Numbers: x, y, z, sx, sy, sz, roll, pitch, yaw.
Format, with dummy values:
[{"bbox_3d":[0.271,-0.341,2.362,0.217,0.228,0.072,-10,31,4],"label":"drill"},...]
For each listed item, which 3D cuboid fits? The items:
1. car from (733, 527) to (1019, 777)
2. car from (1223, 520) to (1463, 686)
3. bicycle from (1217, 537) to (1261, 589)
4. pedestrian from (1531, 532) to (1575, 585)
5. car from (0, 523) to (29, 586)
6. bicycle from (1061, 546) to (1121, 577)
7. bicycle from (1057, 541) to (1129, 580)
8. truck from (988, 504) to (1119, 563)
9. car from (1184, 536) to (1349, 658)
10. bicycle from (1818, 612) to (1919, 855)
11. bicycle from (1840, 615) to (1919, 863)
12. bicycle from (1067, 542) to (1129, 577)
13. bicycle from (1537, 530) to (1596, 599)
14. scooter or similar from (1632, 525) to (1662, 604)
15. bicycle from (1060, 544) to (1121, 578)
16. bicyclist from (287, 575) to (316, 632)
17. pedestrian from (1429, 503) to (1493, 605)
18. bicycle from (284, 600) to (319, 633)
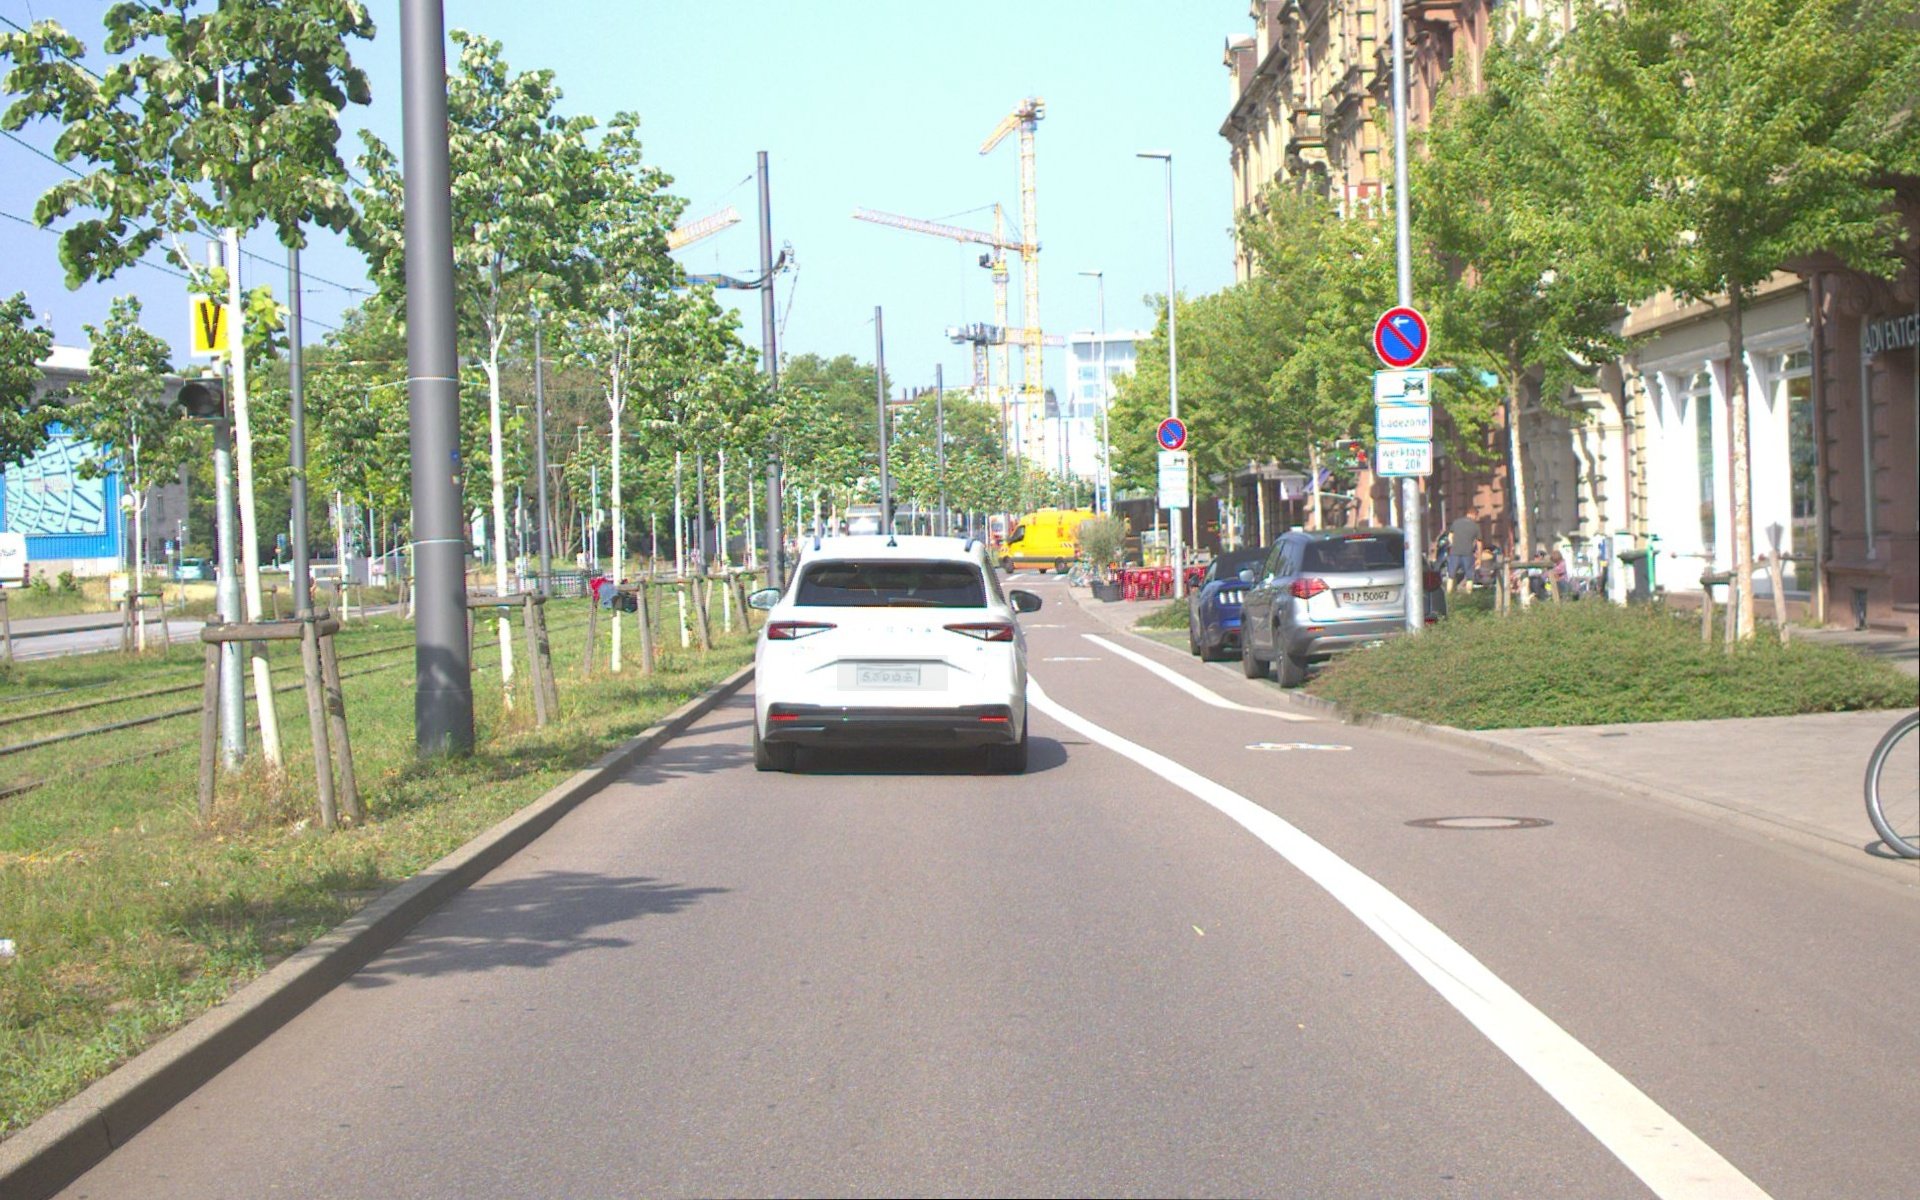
[{"bbox_3d":[-0.545,0.294,24.290,1.817,1.584,4.407,-1,1,0],"label":"car"},{"bbox_3d":[4.032,-0.013,36.803,1.769,1.583,4.248,-3,1,-4],"label":"car"},{"bbox_3d":[6.144,-0.829,75.803,0.595,1.118,1.927,-1,1,-6],"label":"bicycle"},{"bbox_3d":[10.022,-0.701,58.095,0.570,0.852,0.457,-4,1,-6],"label":"pedestrian"},{"bbox_3d":[-42.789,-1.949,144.389,6.873,2.629,2.515,1,1,-21],"label":"car"},{"bbox_3d":[4.380,-1.284,114.551,1.935,0.942,0.440,-3,1,5],"label":"bicycle"},{"bbox_3d":[4.217,-1.241,109.072,2.239,1.100,0.588,-3,1,2],"label":"bicycle"},{"bbox_3d":[3.815,-2.717,141.280,2.213,2.310,5.889,-2,1,-36],"label":"truck"},{"bbox_3d":[3.909,-0.077,44.508,1.736,1.391,4.715,-3,1,1],"label":"car"},{"bbox_3d":[4.842,0.559,15.539,1.784,1.050,0.373,-3,1,-1],"label":"bicycle"},{"bbox_3d":[4.841,0.564,15.140,1.784,1.050,0.373,-3,1,-1],"label":"bicycle"},{"bbox_3d":[4.415,-1.294,110.302,1.934,0.983,0.471,-3,1,2],"label":"bicycle"},{"bbox_3d":[9.707,-0.567,55.045,0.450,1.079,1.449,-2,1,-9],"label":"bicycle"},{"bbox_3d":[10.041,-0.520,50.261,0.289,1.130,1.088,-1,1,6],"label":"scooter or similar"},{"bbox_3d":[4.335,-1.309,114.074,1.935,1.009,0.440,-3,1,5],"label":"bicycle"},{"bbox_3d":[-20.421,0.116,106.584,0.647,1.730,0.919,-3,0,0],"label":"bicyclist"},{"bbox_3d":[8.568,-0.791,58.829,0.823,1.690,0.793,-4,1,-4],"label":"pedestrian"},{"bbox_3d":[-20.395,0.492,106.533,0.662,0.958,2.078,-3,1,0],"label":"bicycle"}]
